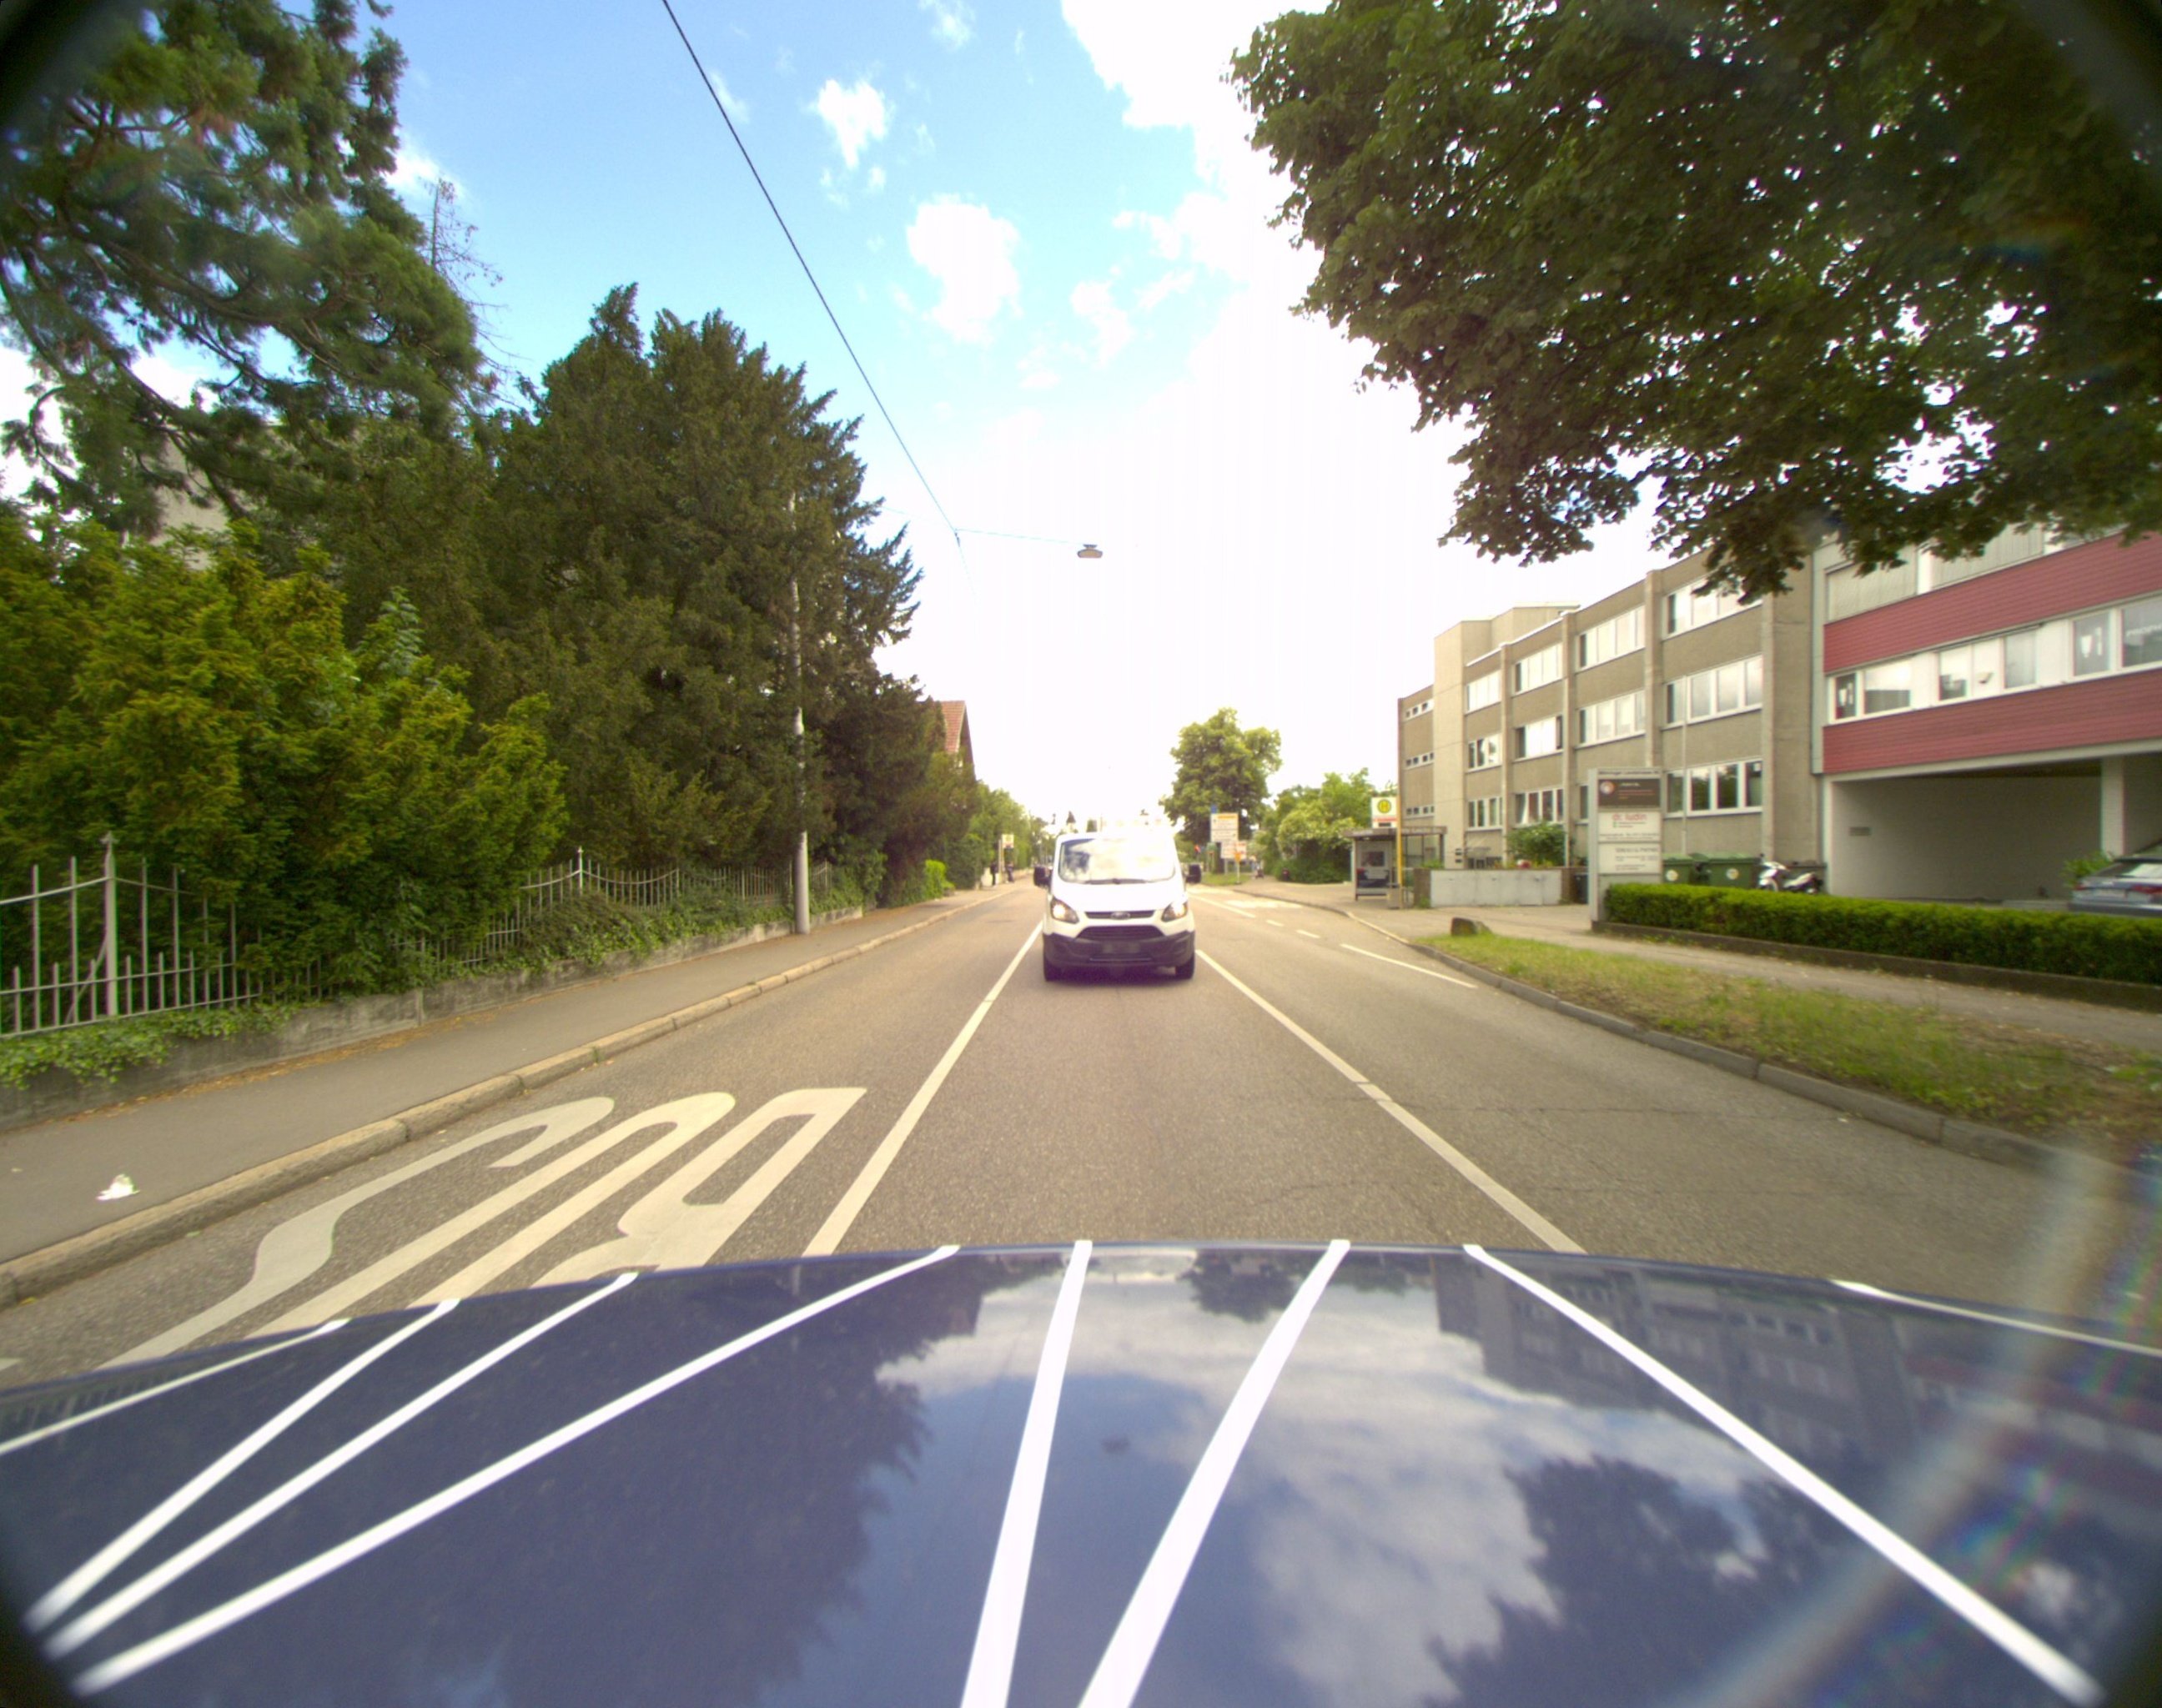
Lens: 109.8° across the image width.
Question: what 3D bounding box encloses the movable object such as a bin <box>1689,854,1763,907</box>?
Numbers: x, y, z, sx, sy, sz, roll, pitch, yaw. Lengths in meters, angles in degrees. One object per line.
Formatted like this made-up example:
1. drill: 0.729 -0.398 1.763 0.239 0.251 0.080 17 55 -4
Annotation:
1. movable object such as a bin: 18.634 0.765 21.986 1.365 1.456 0.885 -2 1 1

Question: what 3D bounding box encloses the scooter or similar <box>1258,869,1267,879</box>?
1. scooter or similar: 13.894 1.531 58.065 0.607 0.782 0.860 -2 1 17

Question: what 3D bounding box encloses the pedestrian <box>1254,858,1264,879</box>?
1. pedestrian: 13.868 1.136 59.213 0.672 1.549 0.520 -2 1 18

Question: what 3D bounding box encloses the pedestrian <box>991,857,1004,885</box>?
1. pedestrian: -5.368 1.105 48.791 0.488 1.756 0.672 -1 1 32

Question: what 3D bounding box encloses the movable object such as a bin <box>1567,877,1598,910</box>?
1. movable object such as a bin: 14.886 1.175 22.559 0.517 0.933 0.562 -2 1 1

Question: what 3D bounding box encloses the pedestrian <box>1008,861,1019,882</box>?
1. pedestrian: -5.076 1.315 57.060 0.661 1.526 0.748 2 1 -1

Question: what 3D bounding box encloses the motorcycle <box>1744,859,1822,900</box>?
1. motorcycle: 20.352 0.734 22.035 1.645 1.133 0.639 -2 1 1

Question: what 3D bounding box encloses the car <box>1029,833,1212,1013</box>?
1. car: 0.413 0.759 11.385 1.999 1.961 5.714 -2 0 -1

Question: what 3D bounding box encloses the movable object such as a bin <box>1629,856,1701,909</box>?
1. movable object such as a bin: 16.931 0.823 22.065 1.301 1.456 0.992 -2 1 1

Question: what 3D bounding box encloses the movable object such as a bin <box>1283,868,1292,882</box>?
1. movable object such as a bin: 13.677 1.386 50.301 0.566 0.922 0.608 -1 1 16

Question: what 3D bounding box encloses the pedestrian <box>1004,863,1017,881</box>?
1. pedestrian: -5.131 1.329 55.269 0.916 1.244 0.789 2 0 -5

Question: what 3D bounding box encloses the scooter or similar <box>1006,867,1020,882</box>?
1. scooter or similar: -5.042 1.504 56.210 0.478 1.091 0.860 3 0 43

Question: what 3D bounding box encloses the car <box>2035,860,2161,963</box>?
1. car: 18.320 0.834 11.775 4.143 1.470 1.814 -2 1 15
